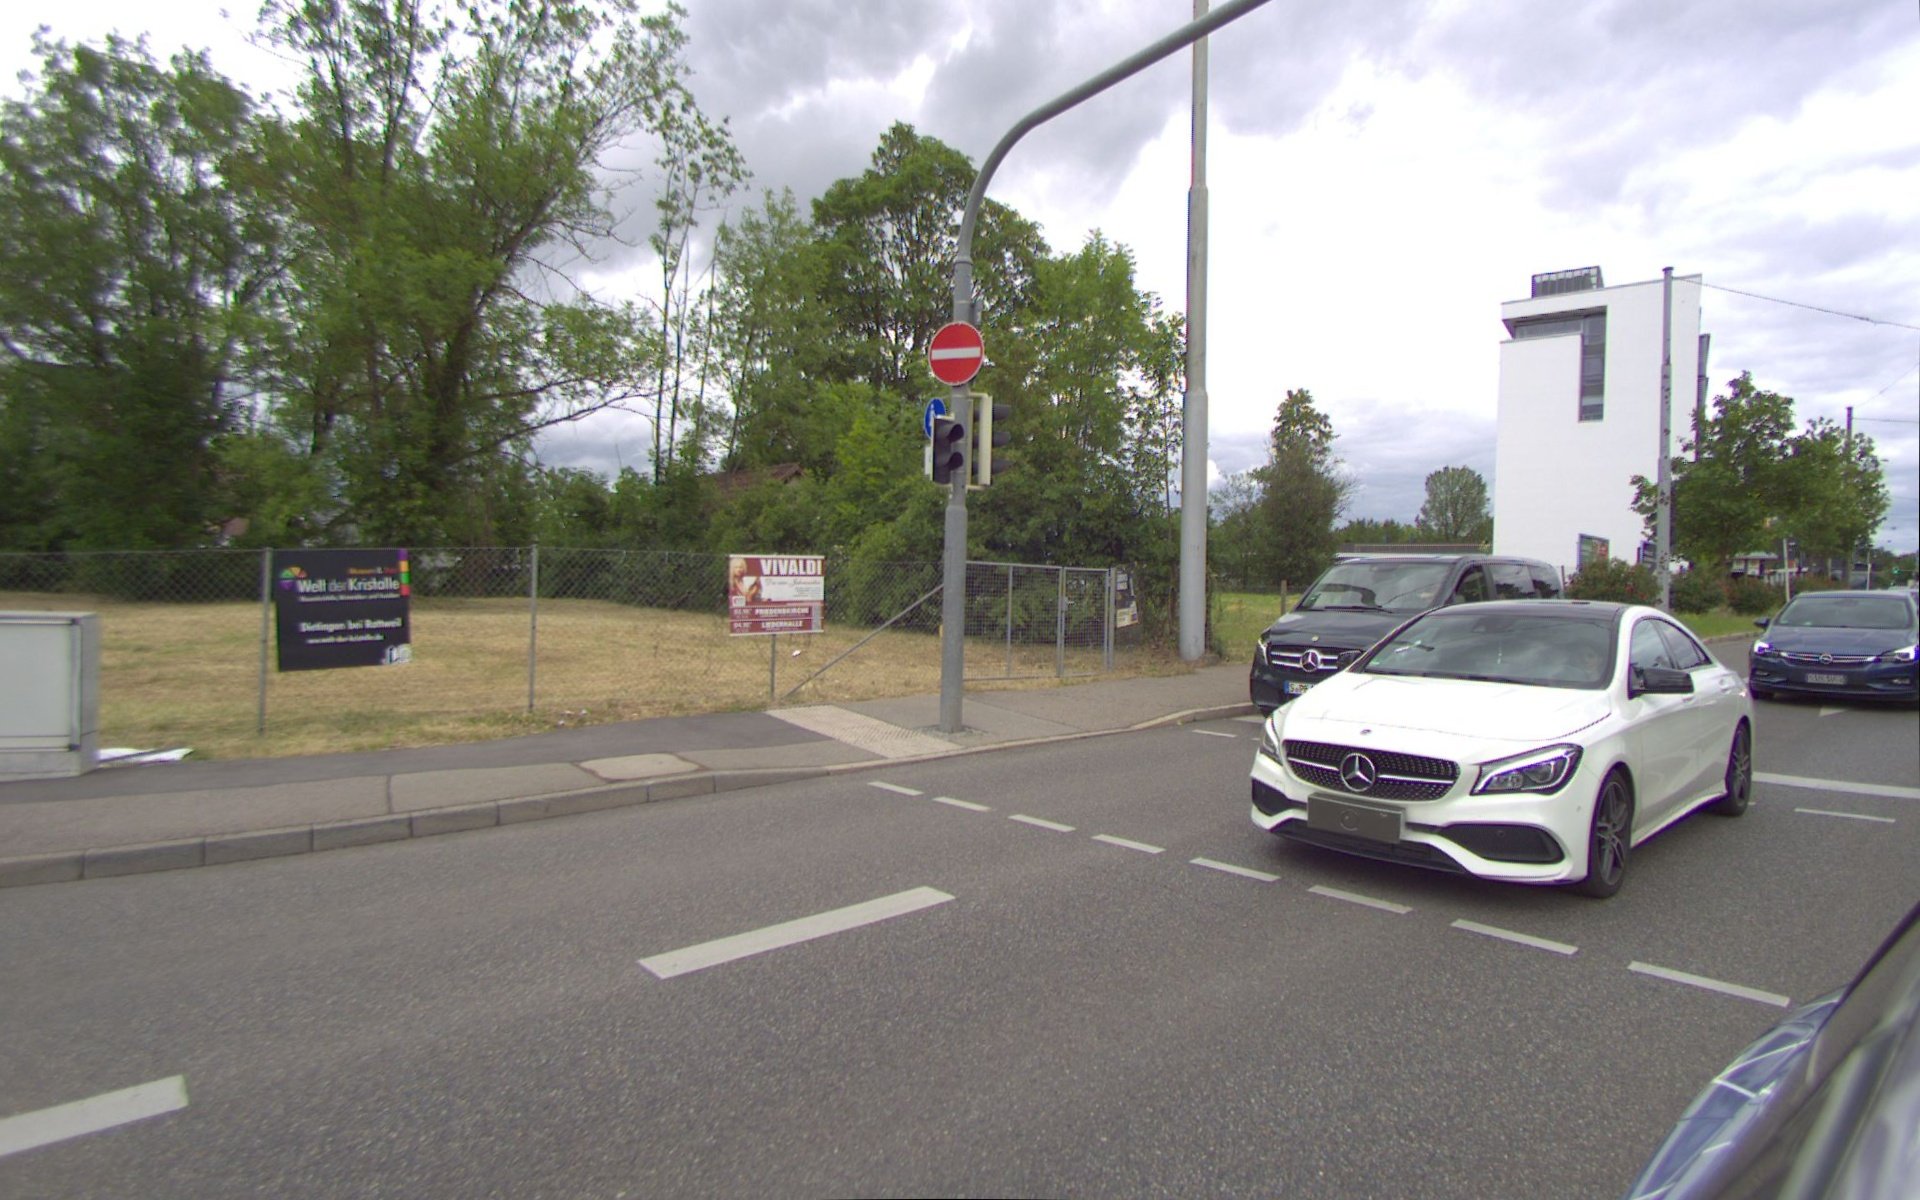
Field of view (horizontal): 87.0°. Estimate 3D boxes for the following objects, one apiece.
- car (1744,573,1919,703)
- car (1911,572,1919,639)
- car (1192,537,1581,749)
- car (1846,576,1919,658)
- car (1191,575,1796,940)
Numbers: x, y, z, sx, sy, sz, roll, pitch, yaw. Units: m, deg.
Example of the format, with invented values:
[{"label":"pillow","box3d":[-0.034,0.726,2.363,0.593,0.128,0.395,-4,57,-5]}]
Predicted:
[{"label":"car","box3d":[12.274,0.393,13.713,4.235,1.491,1.797,-1,2,-41]},{"label":"car","box3d":[25.251,0.116,25.216,4.235,1.619,1.797,-1,2,-41]},{"label":"car","box3d":[4.945,0.319,11.426,4.787,1.911,2.015,-1,2,-39]},{"label":"car","box3d":[19.192,0.279,20.113,4.235,1.491,1.797,-1,2,-41]},{"label":"car","box3d":[3.604,0.598,6.383,4.617,1.491,1.797,-1,2,-41]}]
